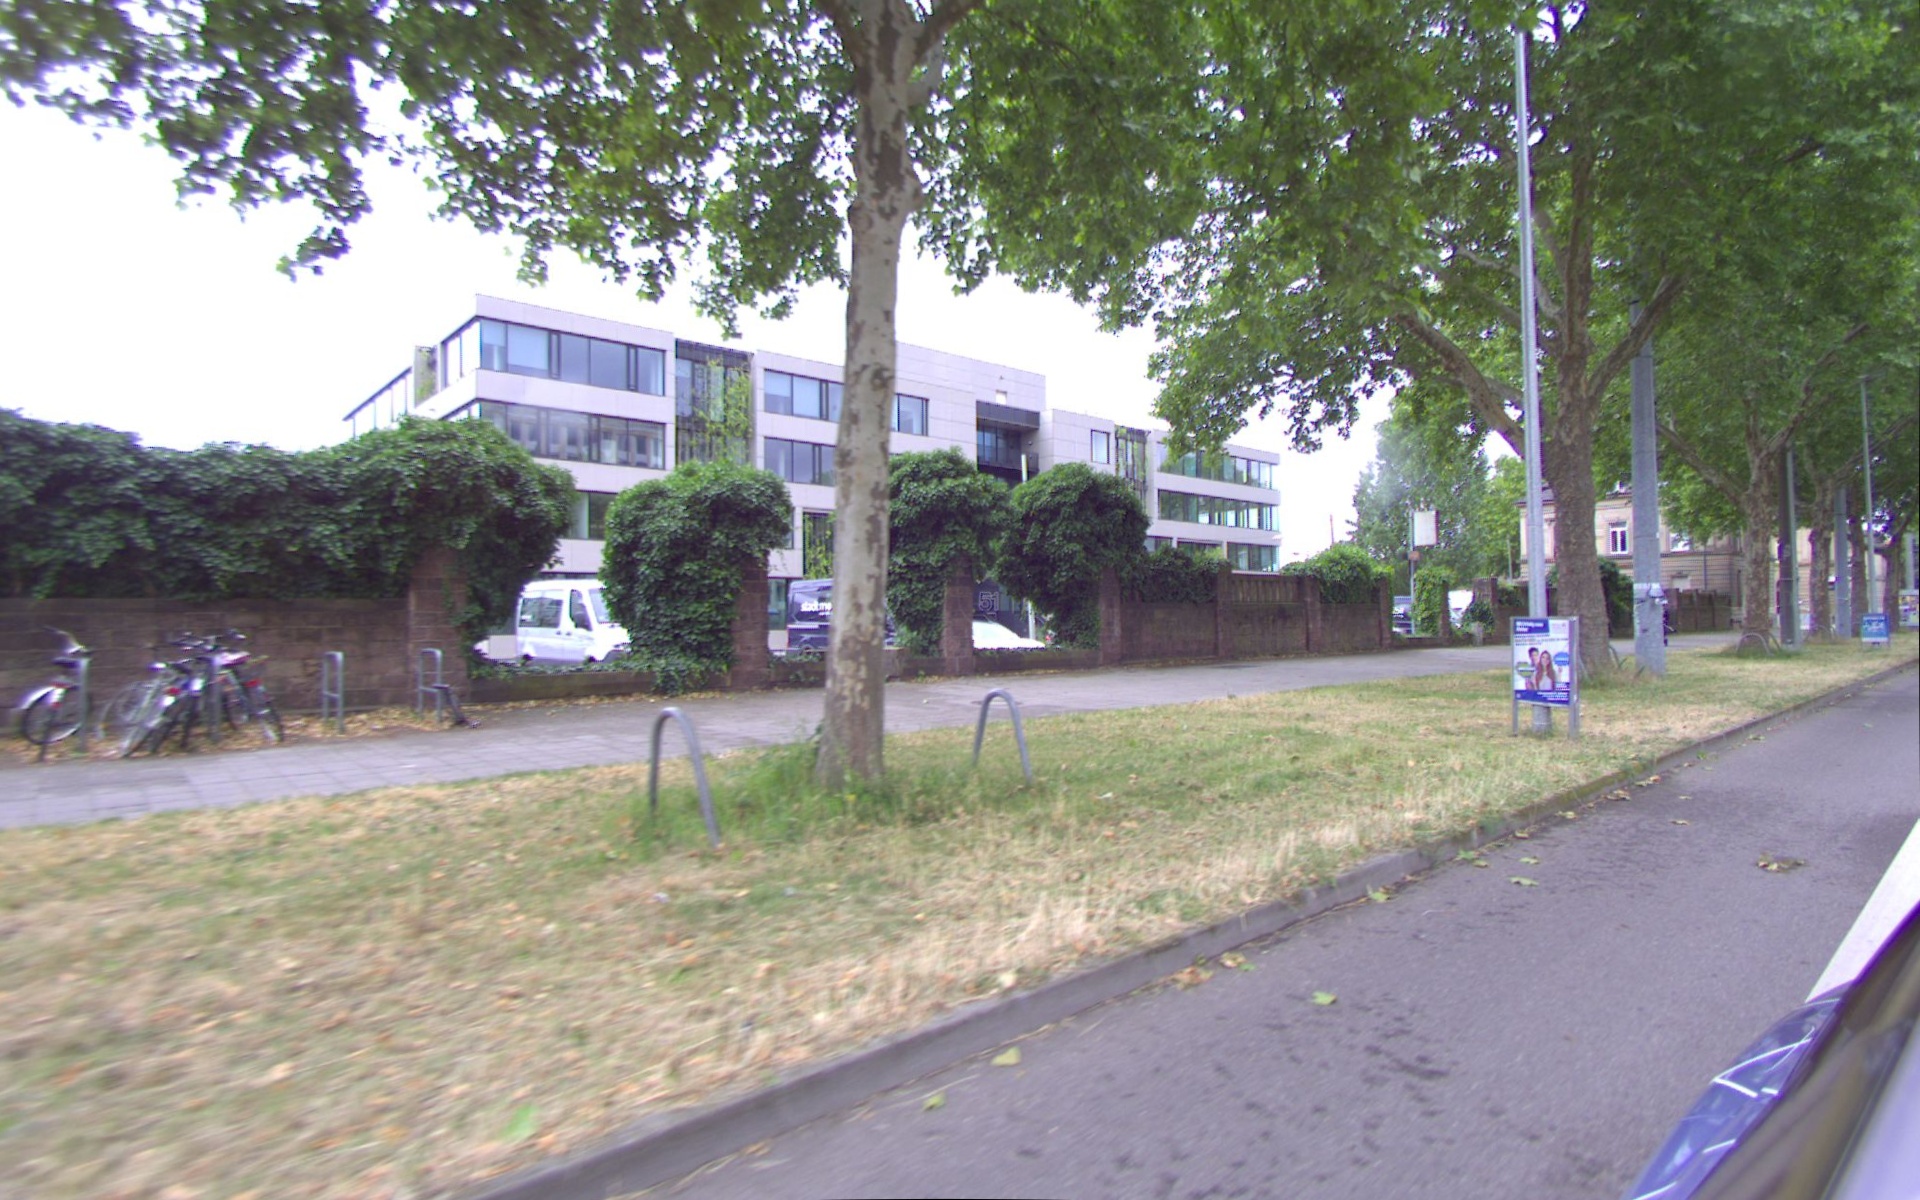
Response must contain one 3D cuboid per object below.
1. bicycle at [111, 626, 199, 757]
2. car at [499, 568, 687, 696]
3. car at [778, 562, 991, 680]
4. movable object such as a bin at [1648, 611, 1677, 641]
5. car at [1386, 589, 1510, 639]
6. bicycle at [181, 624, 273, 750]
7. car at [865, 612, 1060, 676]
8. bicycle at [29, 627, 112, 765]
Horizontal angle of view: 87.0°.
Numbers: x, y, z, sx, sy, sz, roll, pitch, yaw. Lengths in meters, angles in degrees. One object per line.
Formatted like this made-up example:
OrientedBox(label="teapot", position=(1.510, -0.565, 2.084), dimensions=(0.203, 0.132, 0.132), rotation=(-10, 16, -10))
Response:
OrientedBox(label="bicycle", position=(-7.945, 0.842, 9.964), dimensions=(0.540, 1.111, 1.902), rotation=(0, 0, -43))
OrientedBox(label="car", position=(-7.542, 0.656, 20.457), dimensions=(1.638, 2.293, 5.097), rotation=(0, -2, -44))
OrientedBox(label="car", position=(-1.886, 0.567, 23.602), dimensions=(2.041, 2.453, 5.234), rotation=(0, -3, -44))
OrientedBox(label="movable object such as a bin", position=(26.757, 1.000, 38.552), dimensions=(0.995, 1.126, 0.613), rotation=(1, -2, -36))
OrientedBox(label="car", position=(20.838, 0.608, 43.289), dimensions=(1.967, 2.039, 4.350), rotation=(0, -1, -44))
OrientedBox(label="bicycle", position=(-7.507, 0.834, 10.329), dimensions=(0.540, 1.118, 1.892), rotation=(0, 0, -43))
OrientedBox(label="car", position=(-0.052, 1.115, 25.781), dimensions=(1.971, 1.429, 5.097), rotation=(-1, -2, -44))
OrientedBox(label="bicycle", position=(-8.449, 0.845, 9.587), dimensions=(0.540, 1.108, 1.976), rotation=(0, 0, -43))
